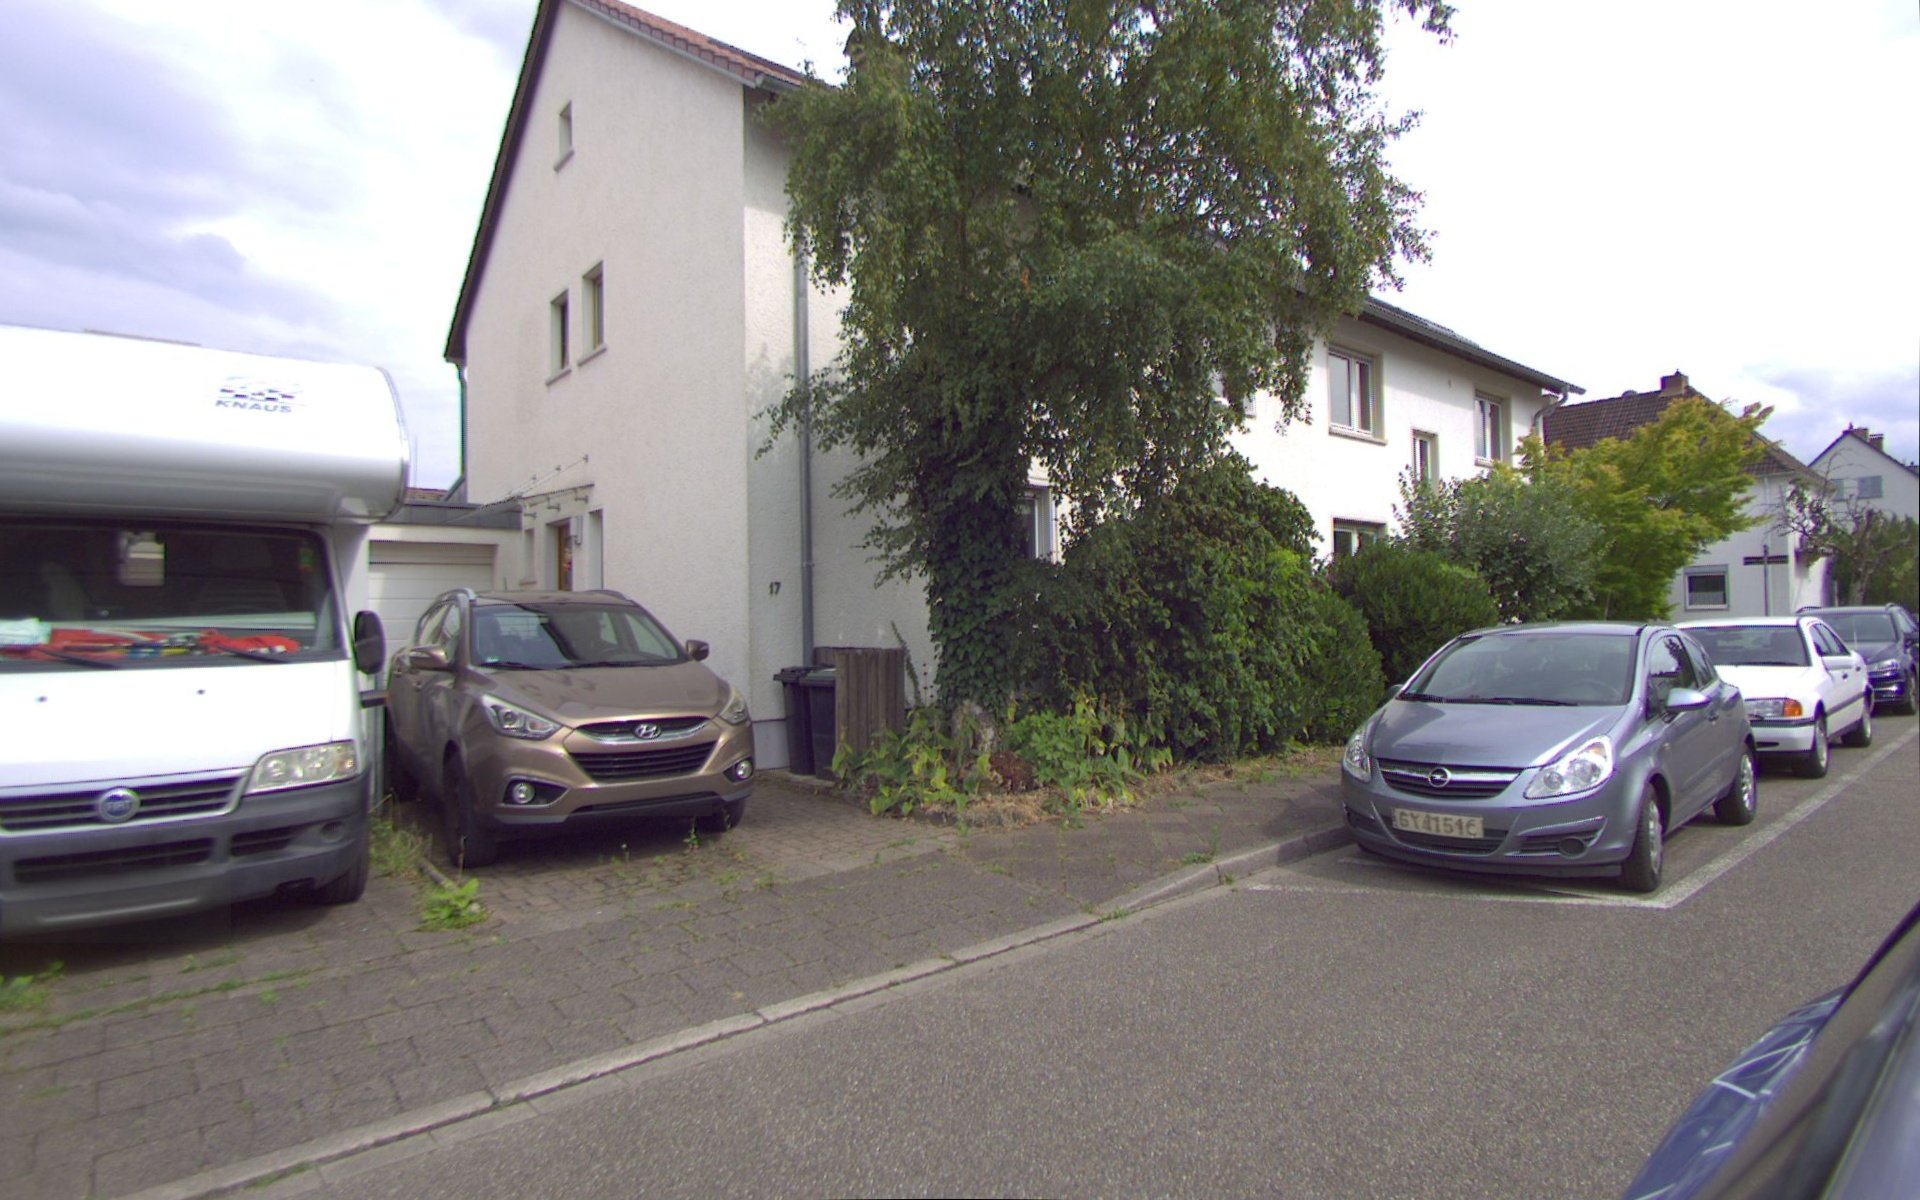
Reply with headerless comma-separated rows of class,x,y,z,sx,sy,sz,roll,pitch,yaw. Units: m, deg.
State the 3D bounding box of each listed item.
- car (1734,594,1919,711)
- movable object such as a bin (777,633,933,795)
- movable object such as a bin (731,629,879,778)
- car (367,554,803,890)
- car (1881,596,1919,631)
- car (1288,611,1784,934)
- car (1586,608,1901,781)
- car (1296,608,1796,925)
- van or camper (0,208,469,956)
car,13.156,0.667,14.814,4.764,1.458,1.871,0,-2,-40
movable object such as a bin,-0.872,0.896,8.424,1.080,1.209,0.721,0,-1,-40
movable object such as a bin,-1.362,0.868,8.943,1.122,1.191,0.654,0,-1,-41
car,-3.099,0.684,7.620,1.864,1.730,4.542,0,-2,-37
car,48.171,0.637,49.766,1.964,1.728,3.995,0,-2,-39
car,4.063,0.840,6.812,4.146,1.489,1.743,0,-2,-43
car,8.231,0.806,10.458,4.616,1.382,1.695,0,-2,-41
car,4.122,0.828,6.805,4.148,1.461,1.704,0,-3,-43
van or camper,-5.140,-0.040,6.398,2.491,2.854,5.811,0,-1,-38
